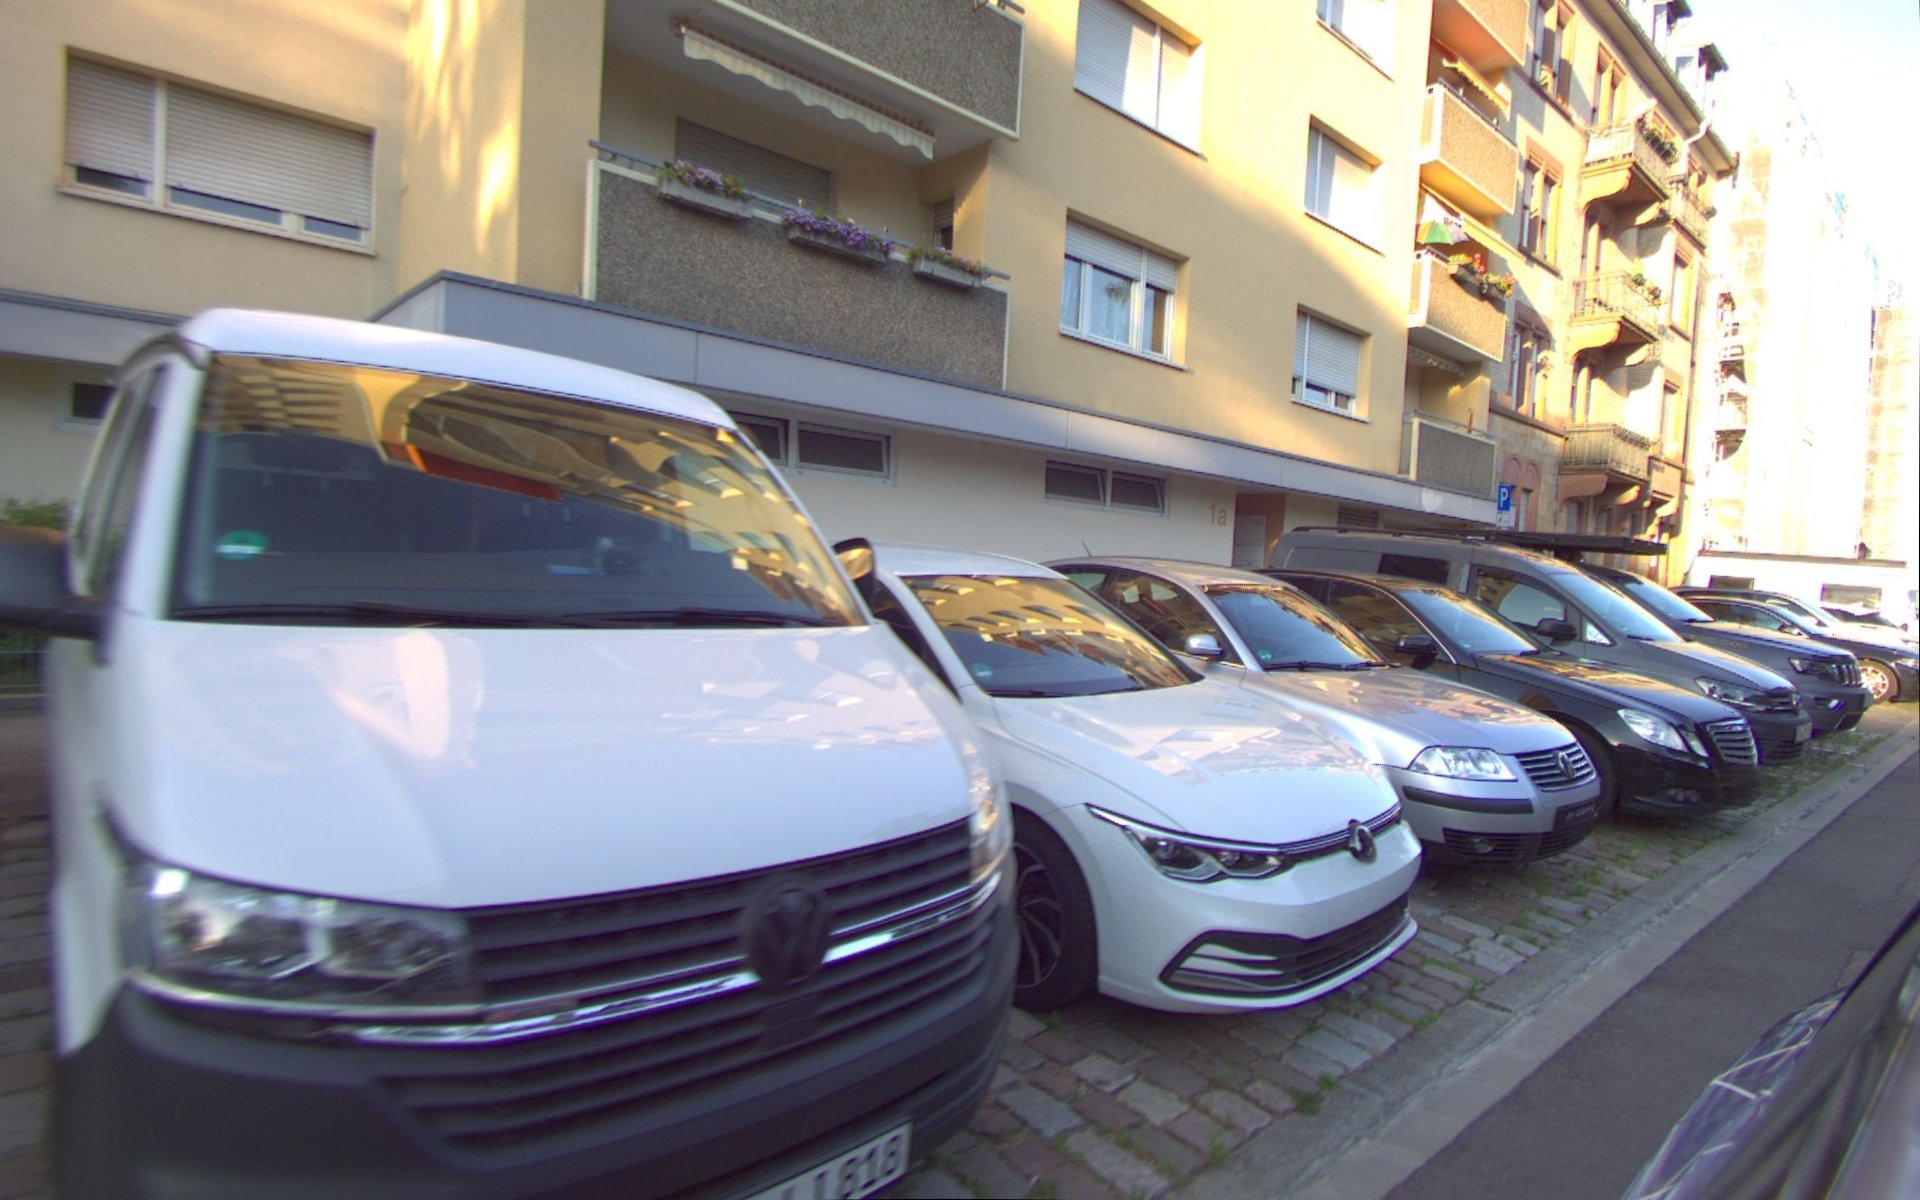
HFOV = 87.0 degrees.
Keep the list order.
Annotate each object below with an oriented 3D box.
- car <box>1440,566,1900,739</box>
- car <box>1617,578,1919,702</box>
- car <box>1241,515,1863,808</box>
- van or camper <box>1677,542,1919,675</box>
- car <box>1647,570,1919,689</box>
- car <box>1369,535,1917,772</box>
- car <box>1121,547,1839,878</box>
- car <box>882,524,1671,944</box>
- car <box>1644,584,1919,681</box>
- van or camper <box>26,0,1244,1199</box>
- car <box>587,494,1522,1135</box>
[{"bbox_3d":[8.828,0.534,12.961,1.812,1.572,4.417,3,3,-39],"label":"car"},{"bbox_3d":[13.962,0.571,17.092,1.813,1.572,4.416,-1,5,-40],"label":"car"},{"bbox_3d":[5.225,0.281,9.565,1.814,2.004,4.648,-1,5,-41],"label":"car"},{"bbox_3d":[19.801,0.183,22.311,2.014,2.533,6.075,1,4,-40],"label":"van or camper"},{"bbox_3d":[15.742,0.475,18.903,1.813,1.769,4.414,0,4,-41],"label":"car"},{"bbox_3d":[7.110,0.359,10.992,1.813,1.885,4.523,1,4,-41],"label":"car"},{"bbox_3d":[3.533,0.501,7.651,1.814,1.581,4.414,-1,6,-41],"label":"car"},{"bbox_3d":[1.568,0.412,6.393,1.814,1.611,4.414,-1,6,-41],"label":"car"},{"bbox_3d":[17.143,0.606,21.088,1.812,1.639,4.415,2,1,-39],"label":"car"},{"bbox_3d":[-1.893,-0.010,3.567,2.006,2.192,5.145,0,7,-42],"label":"van or camper"},{"bbox_3d":[-0.061,0.372,4.866,1.814,1.650,4.414,-1,6,-41],"label":"car"}]
